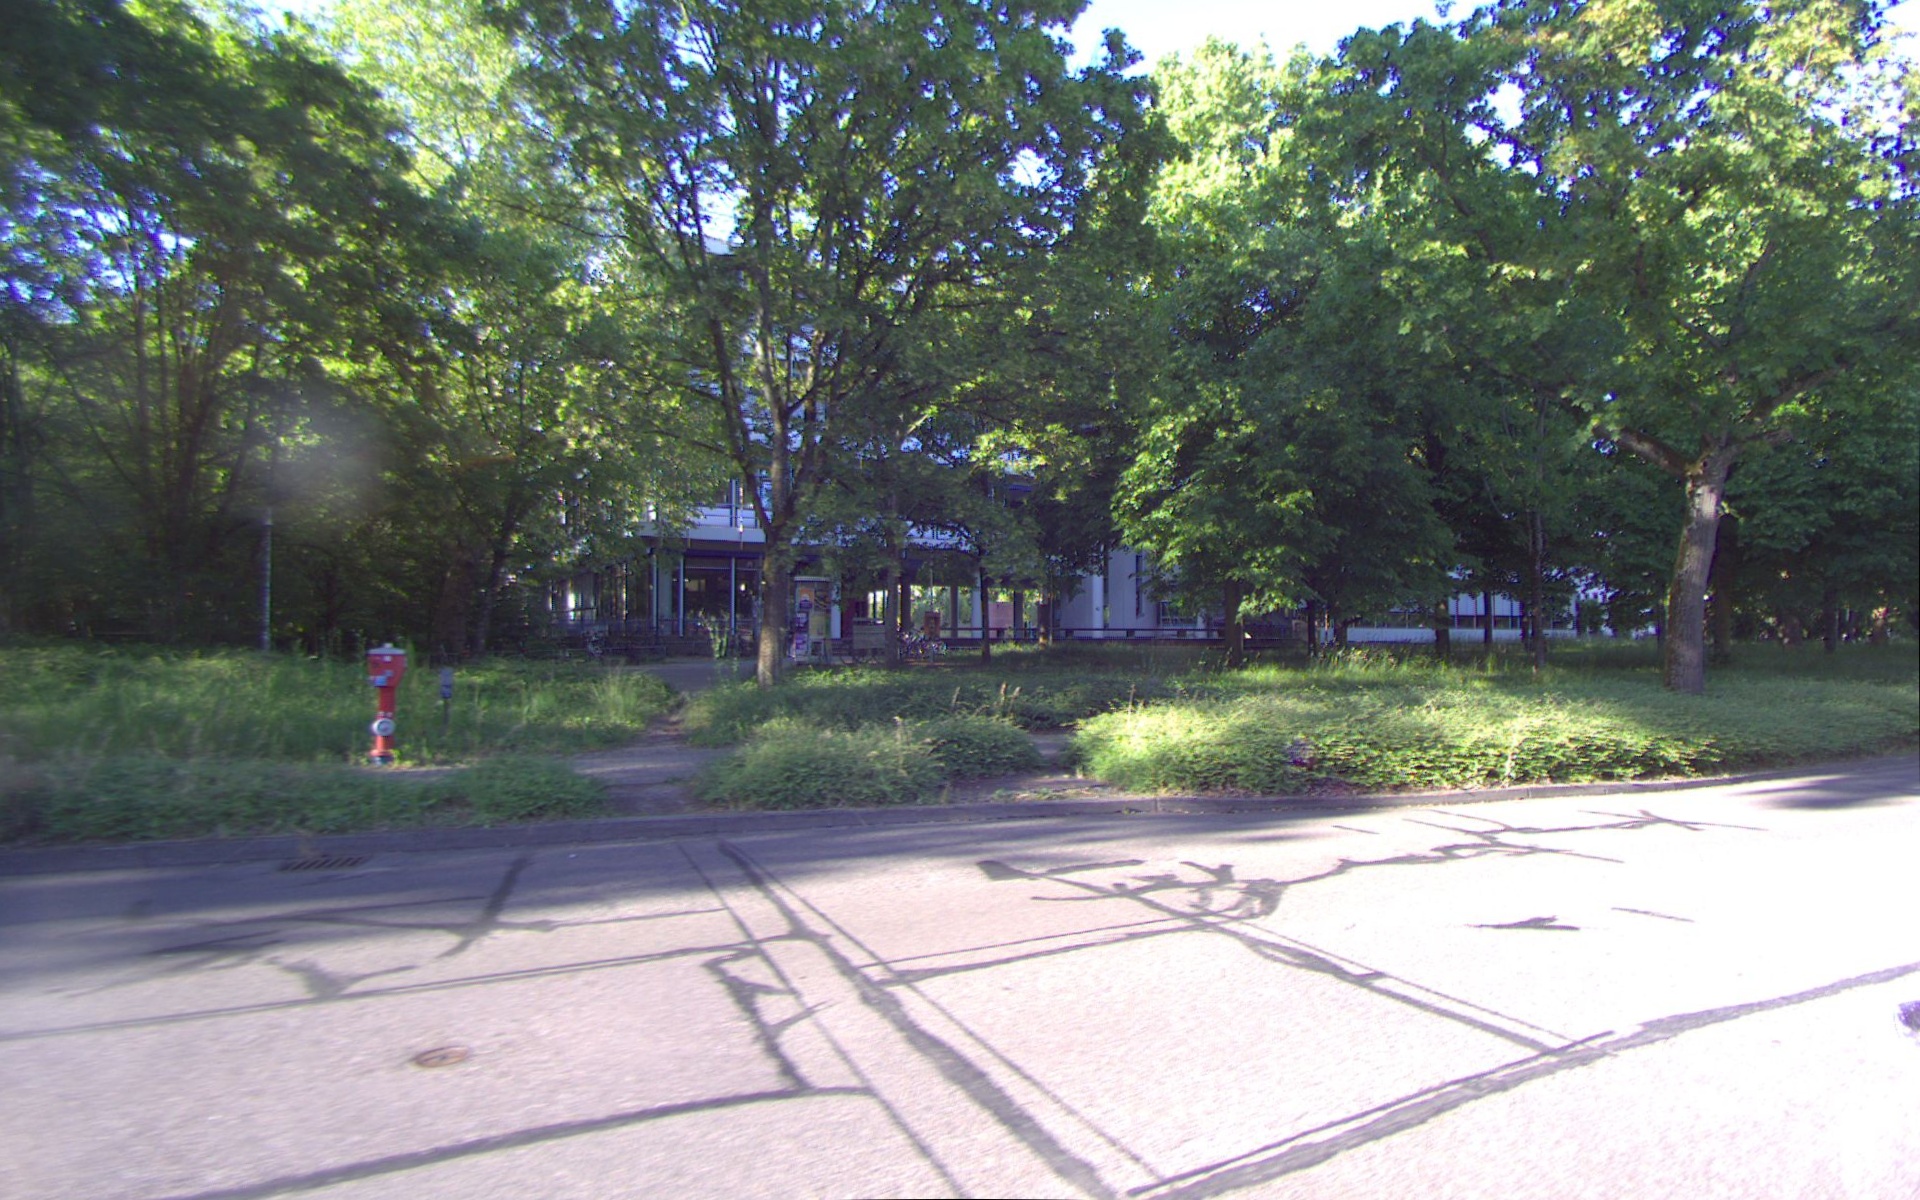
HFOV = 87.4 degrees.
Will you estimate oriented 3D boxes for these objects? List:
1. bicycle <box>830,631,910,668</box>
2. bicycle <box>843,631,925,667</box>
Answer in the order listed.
[{"bbox_3d":[-2.767,1.521,30.882,2.380,1.086,0.537,0,1,8],"label":"bicycle"},{"bbox_3d":[-2.440,1.572,32.271,2.590,1.086,0.535,0,3,-14],"label":"bicycle"}]
